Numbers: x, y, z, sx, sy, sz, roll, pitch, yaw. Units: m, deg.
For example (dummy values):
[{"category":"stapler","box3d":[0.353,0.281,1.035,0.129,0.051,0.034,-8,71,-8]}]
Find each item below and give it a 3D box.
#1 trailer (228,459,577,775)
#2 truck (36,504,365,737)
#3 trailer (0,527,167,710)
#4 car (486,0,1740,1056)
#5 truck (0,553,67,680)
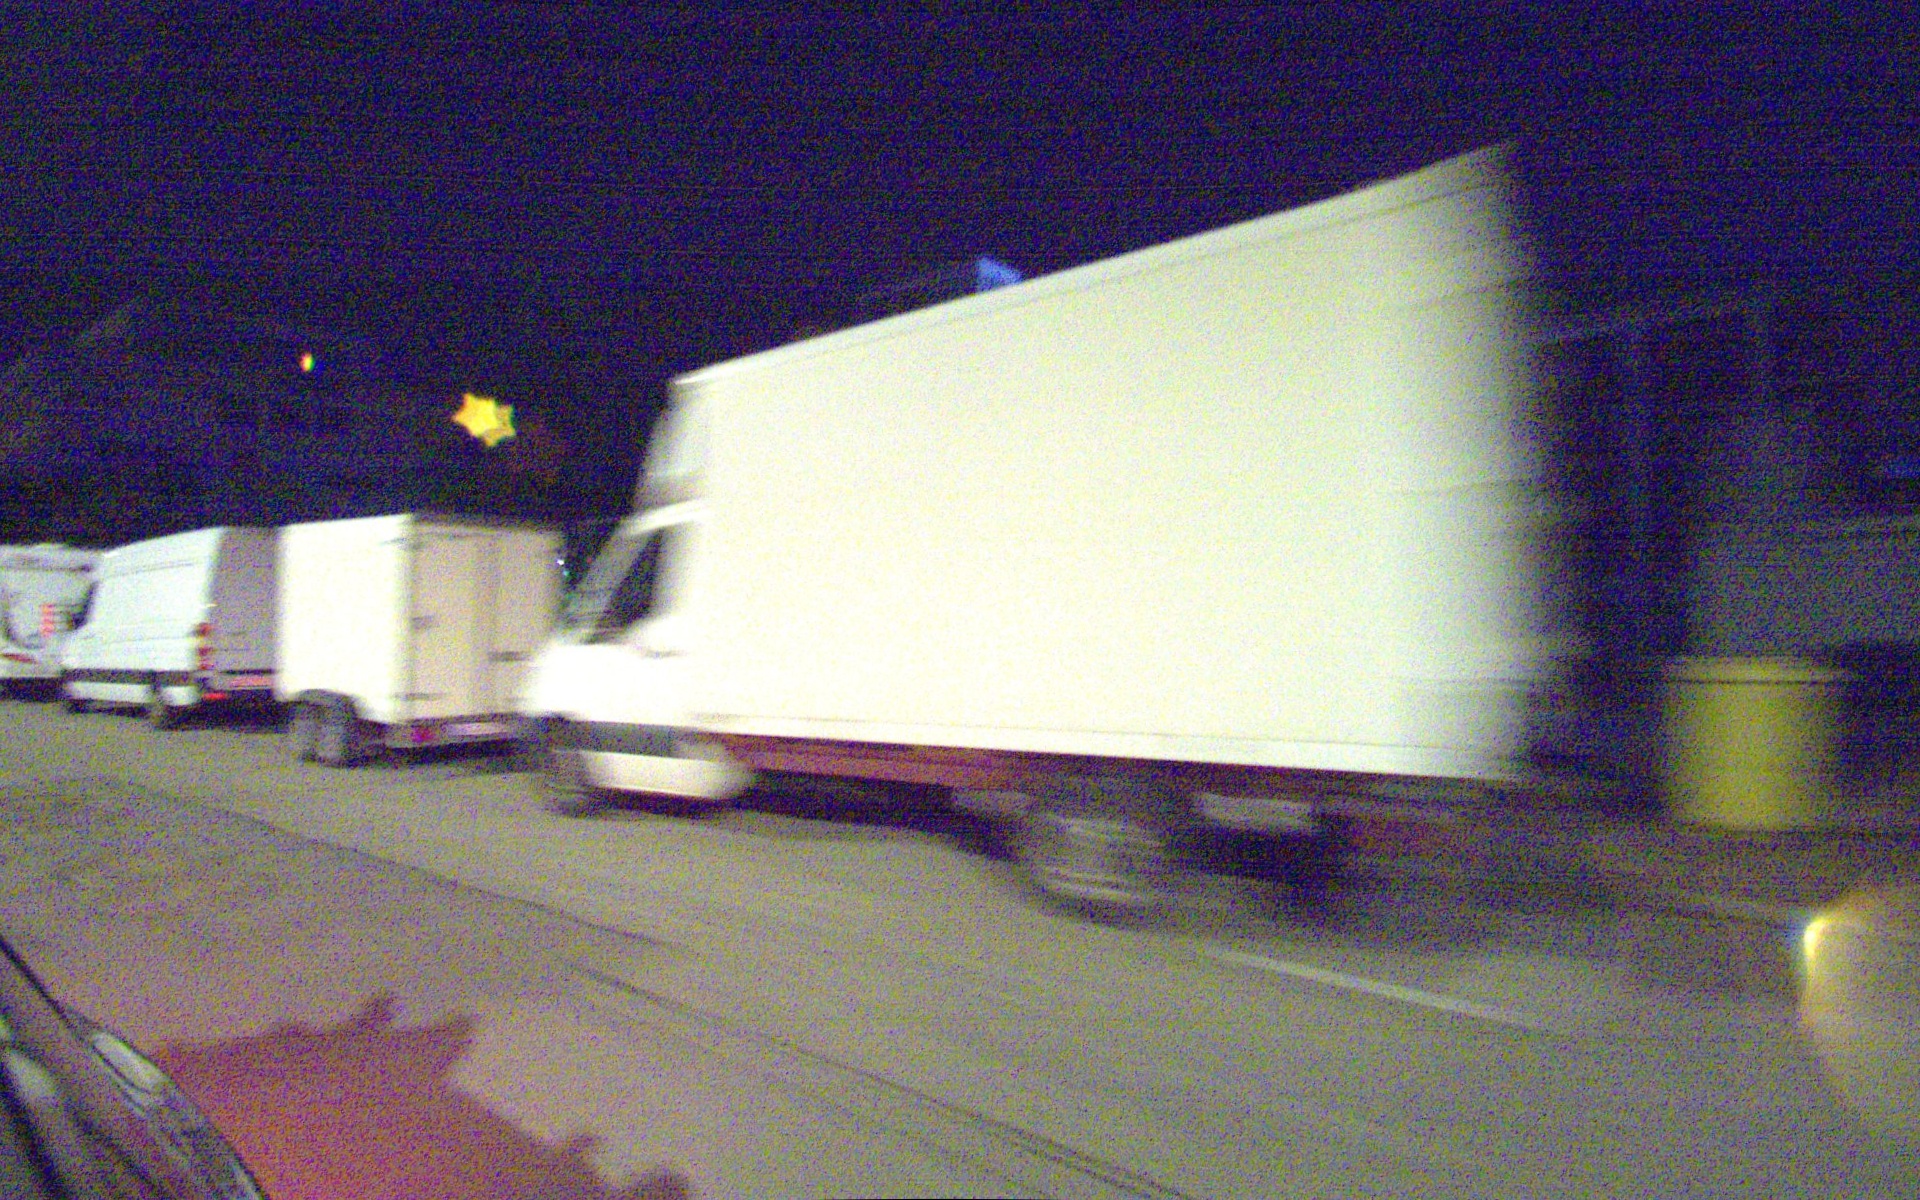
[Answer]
[{"category":"trailer","box3d":[-6.135,0.199,10.995,3.996,2.786,1.977,-1,-2,40]},{"category":"truck","box3d":[-11.572,0.301,15.119,7.230,2.805,1.975,-1,-1,37]},{"category":"trailer","box3d":[-18.711,0.375,20.529,7.945,3.096,2.458,-1,-1,39]},{"category":"car","box3d":[0.139,-0.213,6.197,7.218,3.267,2.360,-1,0,37]},{"category":"truck","box3d":[-27.388,0.474,26.888,9.301,3.088,2.724,-1,0,30]}]
